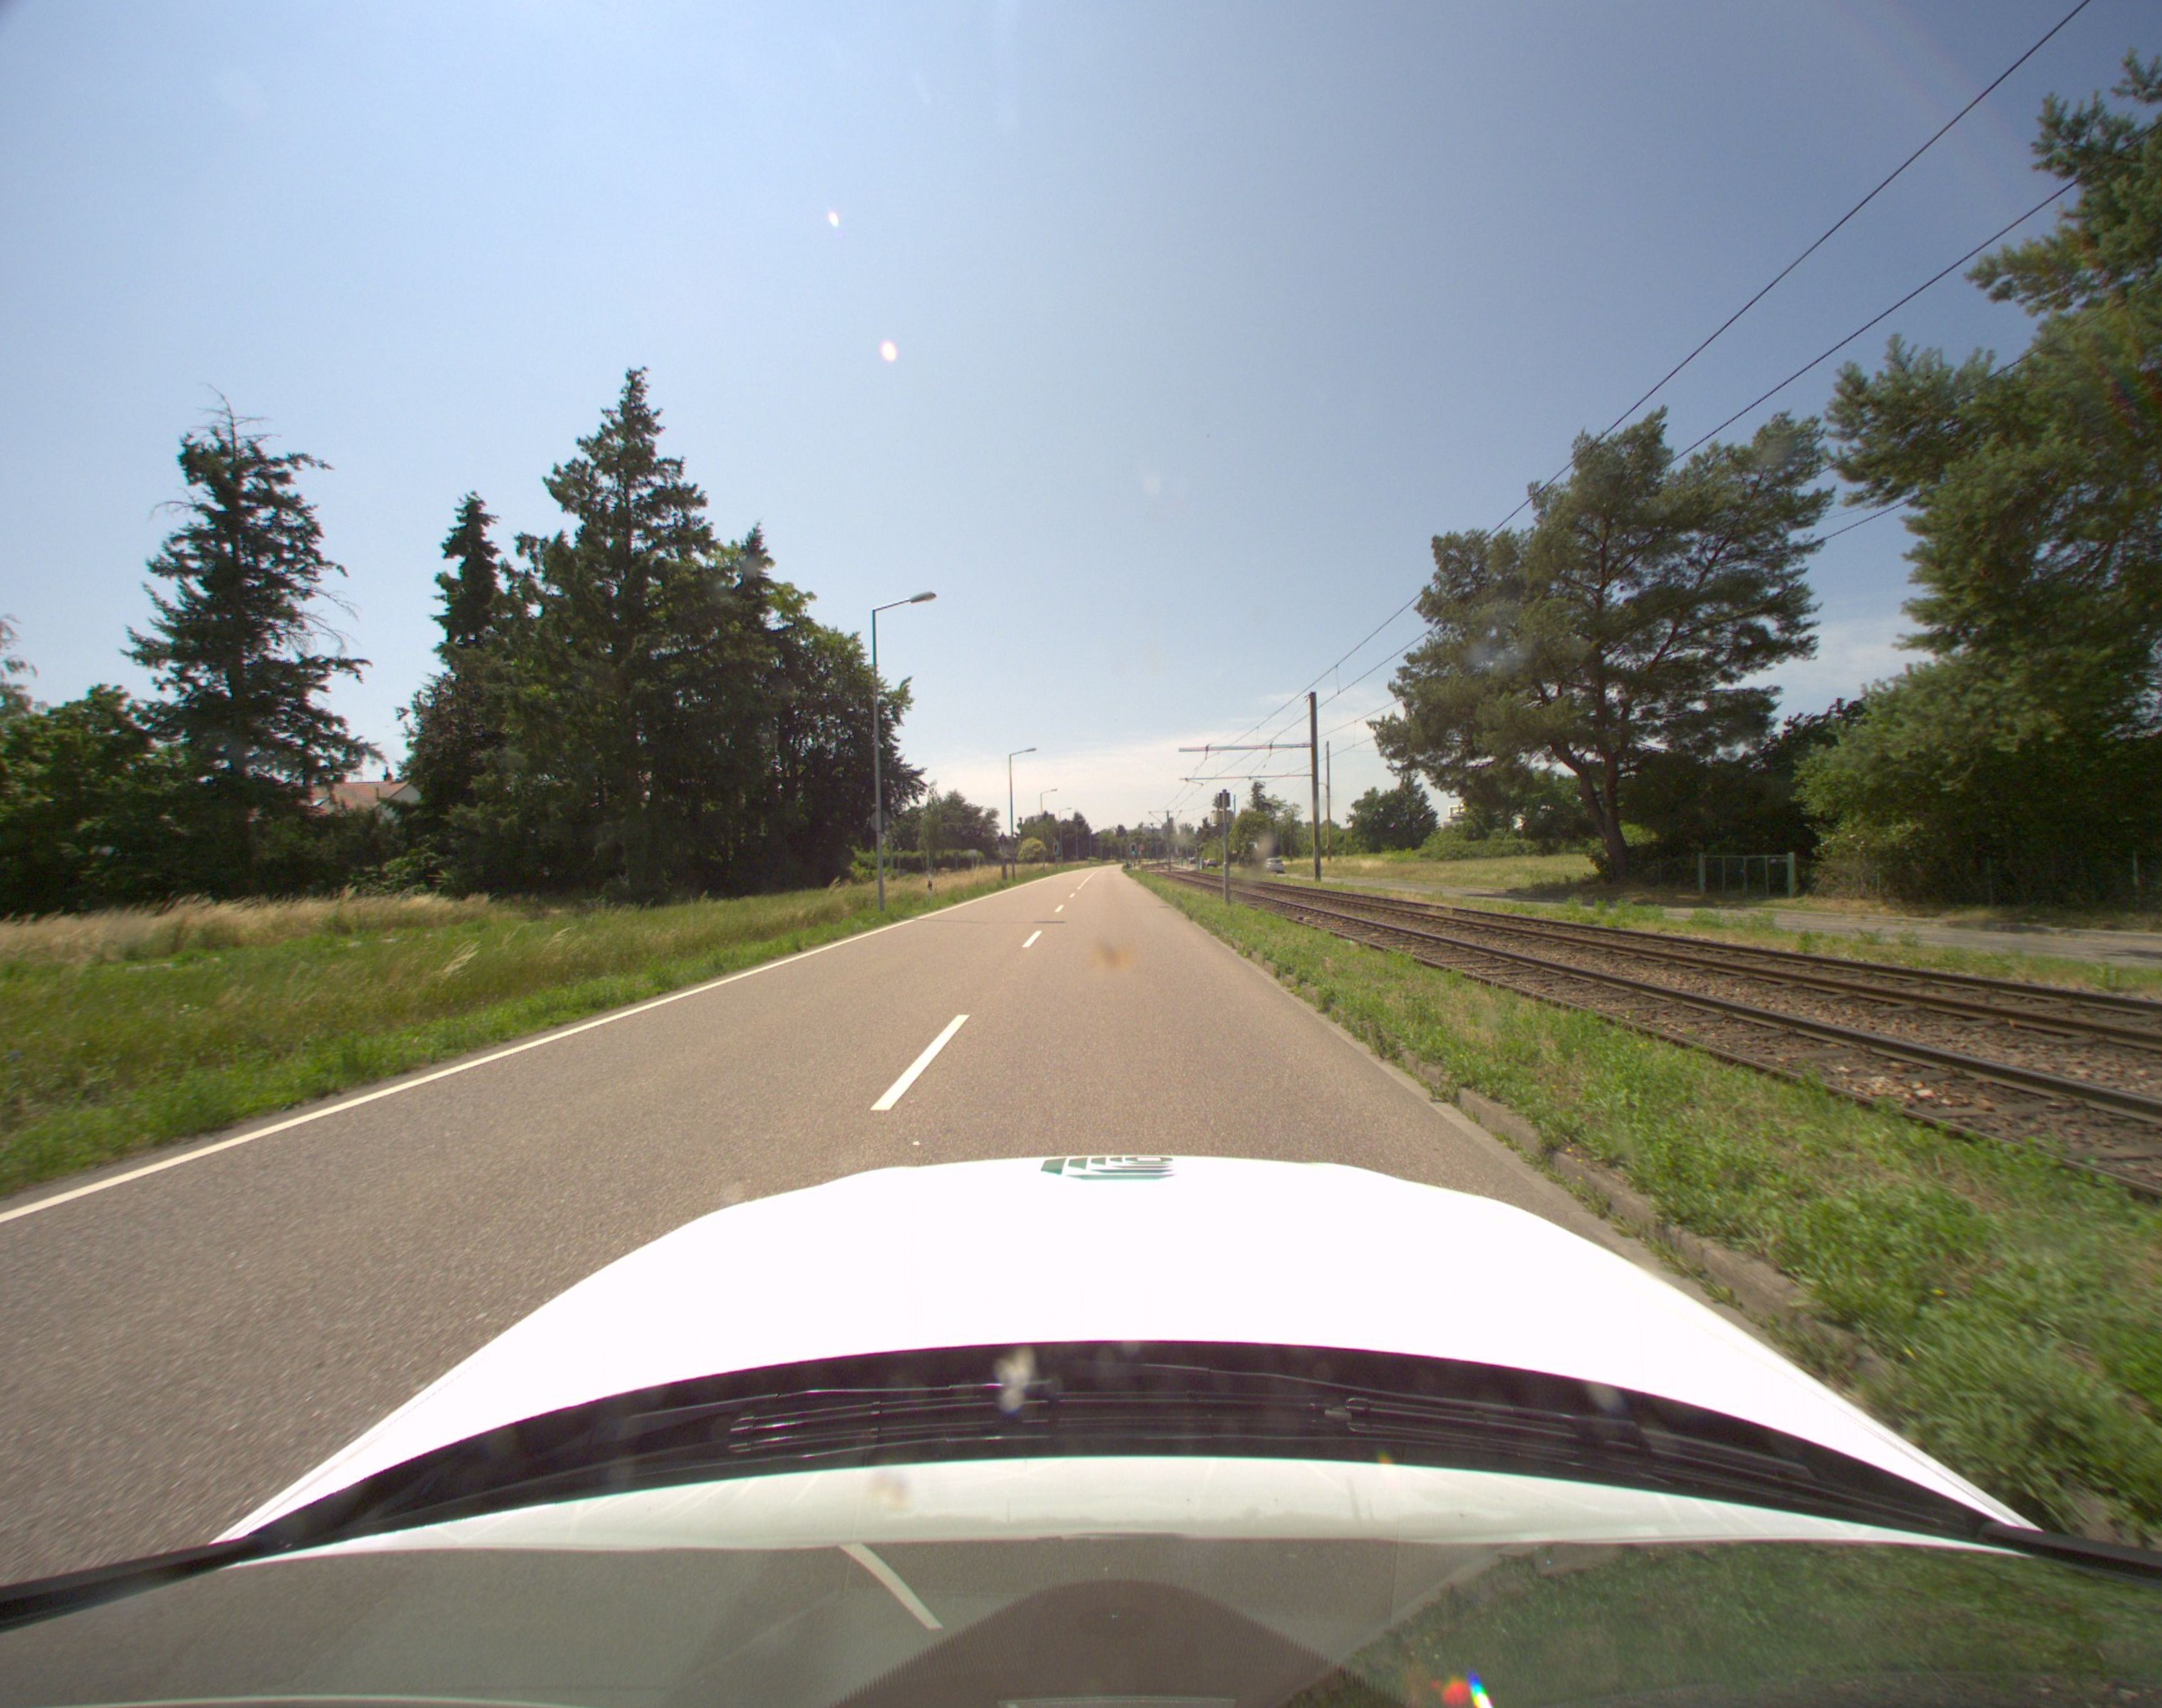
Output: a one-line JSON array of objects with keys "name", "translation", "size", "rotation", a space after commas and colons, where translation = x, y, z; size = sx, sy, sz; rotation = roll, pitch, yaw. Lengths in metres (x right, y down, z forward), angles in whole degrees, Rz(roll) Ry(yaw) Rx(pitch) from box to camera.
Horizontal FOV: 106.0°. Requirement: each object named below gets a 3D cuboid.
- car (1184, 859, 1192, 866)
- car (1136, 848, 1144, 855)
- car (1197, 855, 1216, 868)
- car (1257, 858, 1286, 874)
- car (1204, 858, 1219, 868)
[{"name": "car", "translation": [29.490, 2.402, 224.438], "size": [1.751, 1.750, 4.001], "rotation": [-2, -1, 2]}, {"name": "car", "translation": [13.806, -0.532, 191.172], "size": [1.546, 1.585, 3.570], "rotation": [-2, -1, 2]}, {"name": "car", "translation": [15.164, 0.922, 98.250], "size": [1.737, 1.559, 4.001], "rotation": [-2, -1, 2]}, {"name": "car", "translation": [18.847, 1.203, 80.845], "size": [1.986, 1.508, 4.001], "rotation": [-2, -1, 2]}, {"name": "car", "translation": [21.869, 1.516, 136.208], "size": [1.908, 1.662, 4.001], "rotation": [-2, -1, 2]}]
